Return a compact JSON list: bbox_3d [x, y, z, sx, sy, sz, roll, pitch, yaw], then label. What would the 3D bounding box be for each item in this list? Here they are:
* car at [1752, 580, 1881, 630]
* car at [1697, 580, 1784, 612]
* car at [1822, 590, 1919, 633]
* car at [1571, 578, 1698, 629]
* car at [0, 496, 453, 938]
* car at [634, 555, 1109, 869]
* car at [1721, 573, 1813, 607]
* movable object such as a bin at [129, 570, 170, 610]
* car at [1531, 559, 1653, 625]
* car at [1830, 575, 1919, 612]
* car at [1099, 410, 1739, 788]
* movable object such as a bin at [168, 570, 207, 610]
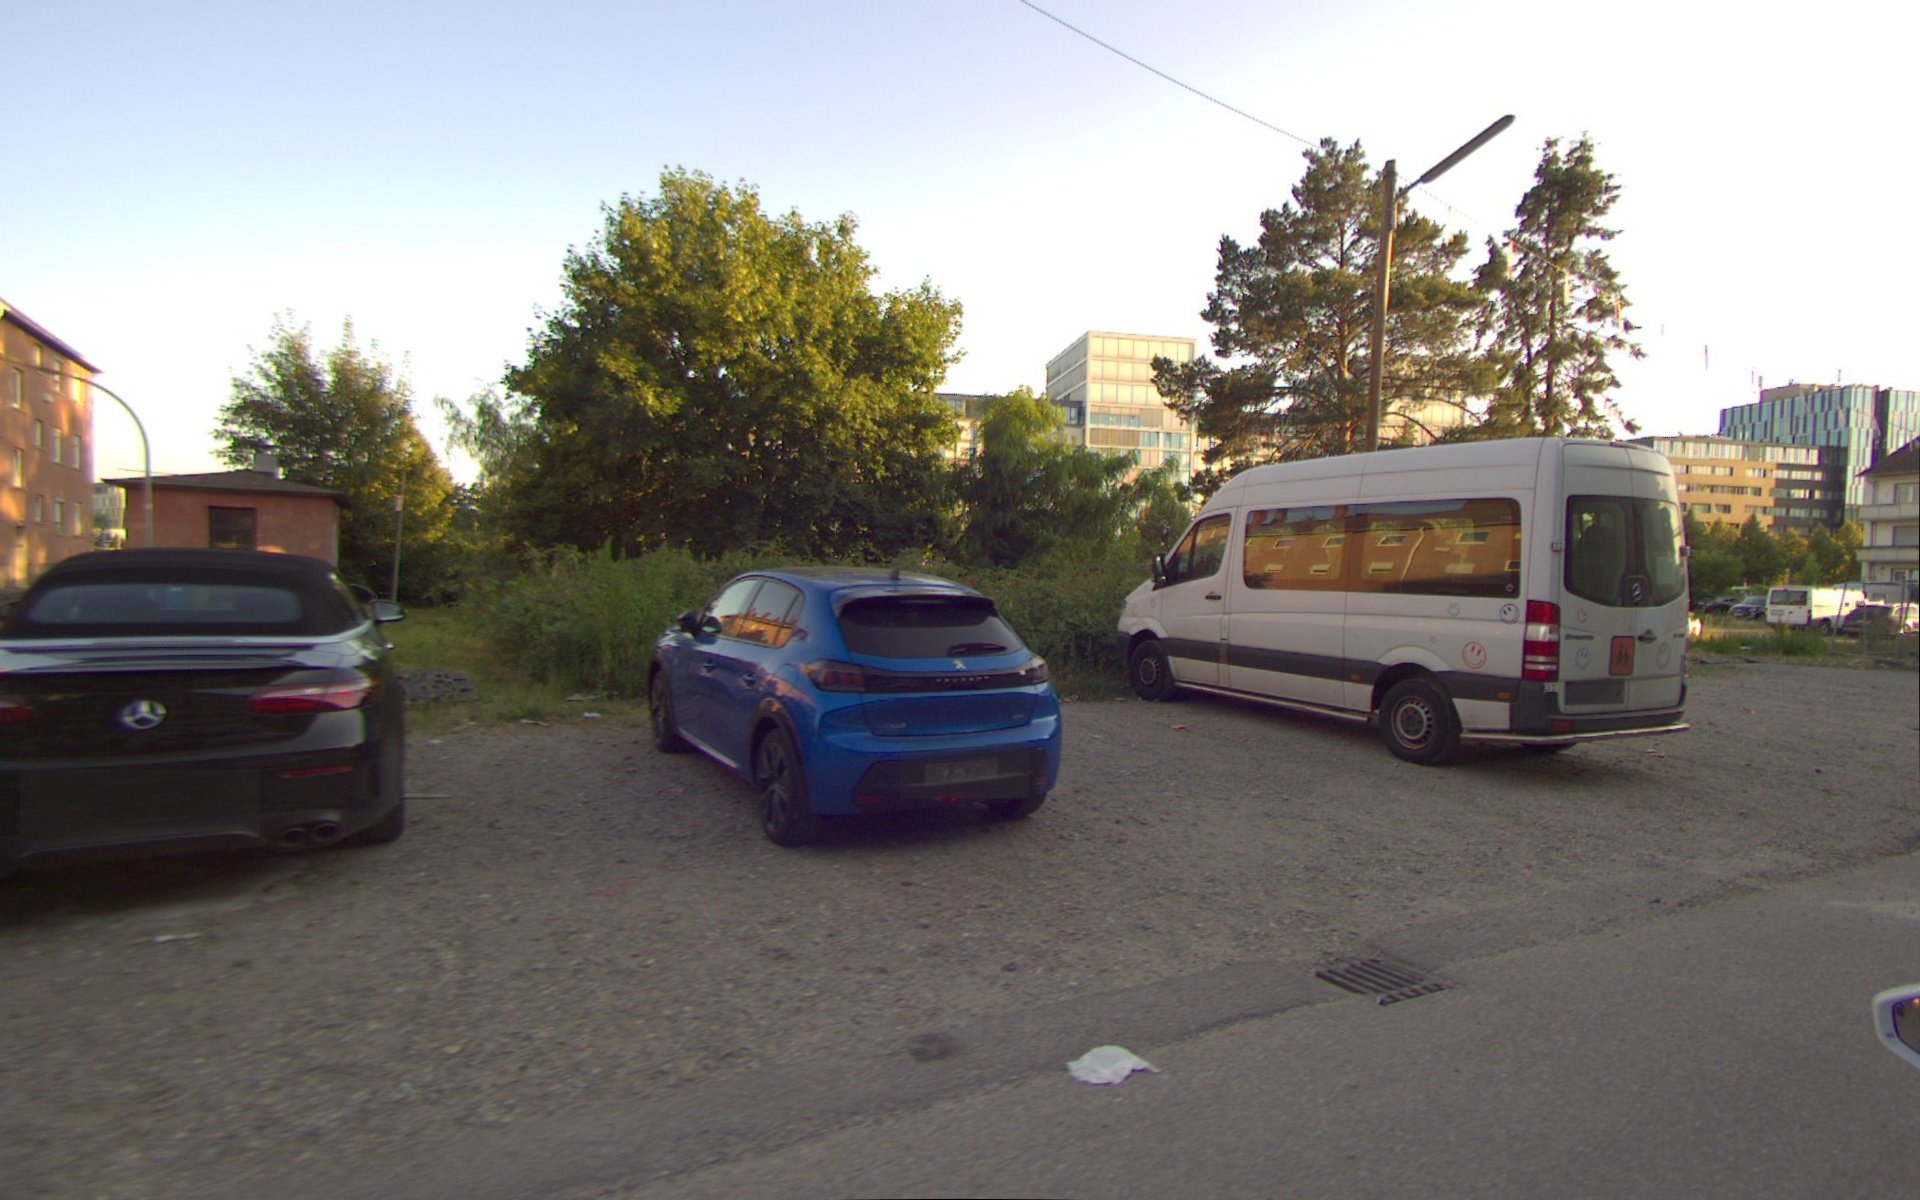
[{"bbox_3d":[38.139,0.213,44.730,4.984,2.041,2.303,1,2,-22],"label":"car"},{"bbox_3d":[53.444,-0.263,68.775,4.979,2.041,2.305,1,2,-19],"label":"car"},{"bbox_3d":[38.769,0.493,42.031,4.984,1.675,2.008,1,2,-22],"label":"car"},{"bbox_3d":[28.360,0.127,42.246,4.785,2.001,1.990,1,2,-21],"label":"car"},{"bbox_3d":[-4.052,0.317,5.716,1.708,1.565,4.391,0,3,-32],"label":"car"},{"bbox_3d":[-0.887,0.468,6.815,1.708,1.449,3.816,1,3,-31],"label":"car"},{"bbox_3d":[51.972,-0.645,64.690,4.980,2.041,2.305,1,2,-19],"label":"car"},{"bbox_3d":[-19.058,-0.230,23.630,0.637,0.915,0.608,1,3,-29],"label":"movable object such as a bin"},{"bbox_3d":[27.804,-0.338,44.205,4.785,2.728,1.990,1,2,-21],"label":"car"},{"bbox_3d":[54.834,-0.385,59.820,4.980,2.041,2.305,1,2,-19],"label":"car"},{"bbox_3d":[3.964,-0.117,10.119,2.193,2.662,5.667,1,2,-27],"label":"car"},{"bbox_3d":[-18.450,-0.245,24.002,0.637,0.915,0.608,1,3,-29],"label":"movable object such as a bin"}]
